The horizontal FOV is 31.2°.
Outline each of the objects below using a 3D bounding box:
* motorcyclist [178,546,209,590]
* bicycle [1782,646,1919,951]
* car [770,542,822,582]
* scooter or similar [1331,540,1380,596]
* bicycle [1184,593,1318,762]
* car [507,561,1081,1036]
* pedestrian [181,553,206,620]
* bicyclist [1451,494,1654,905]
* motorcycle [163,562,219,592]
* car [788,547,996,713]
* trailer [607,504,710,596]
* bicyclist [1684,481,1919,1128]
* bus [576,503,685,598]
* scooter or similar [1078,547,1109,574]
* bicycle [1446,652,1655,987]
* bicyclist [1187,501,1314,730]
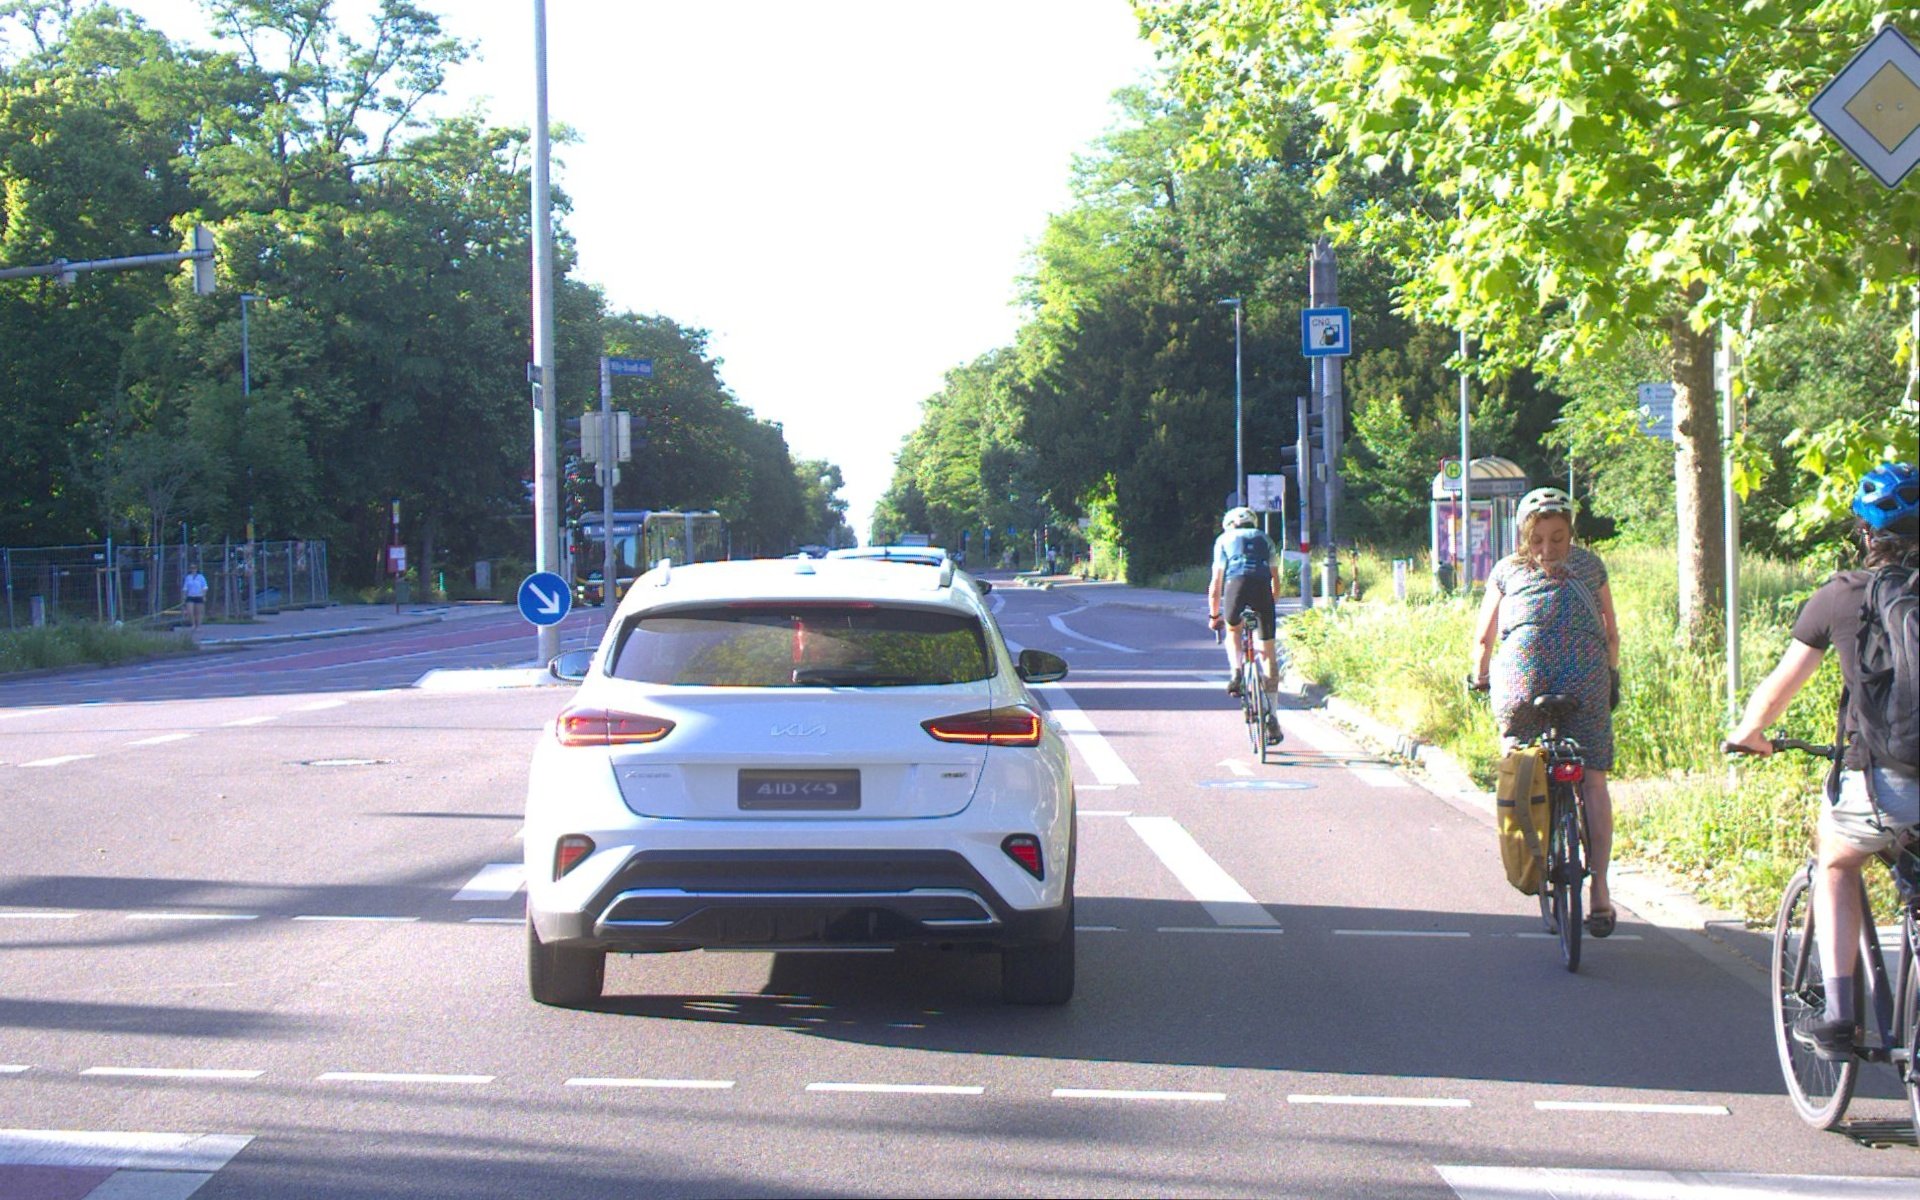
[{"bbox_3d":[-38.403,-1.587,172.158,1.123,2.174,1.014,-1,1,44],"label":"motorcyclist"},{"bbox_3d":[4.147,0.718,12.878,1.985,1.092,0.695,-1,1,6],"label":"bicycle"},{"bbox_3d":[-6.332,-1.489,133.108,1.710,1.416,4.555,-1,2,1],"label":"car"},{"bbox_3d":[9.142,-0.731,79.476,0.722,1.243,1.326,-3,-1,23],"label":"scooter or similar"},{"bbox_3d":[2.036,0.519,24.132,0.891,1.092,2.136,0,1,4],"label":"bicycle"},{"bbox_3d":[-0.664,0.599,12.554,1.761,1.454,3.818,1,1,-5],"label":"car"},{"bbox_3d":[-17.795,-0.317,79.773,0.451,1.528,0.571,-1,1,-4],"label":"pedestrian"},{"bbox_3d":[2.224,0.359,12.901,0.693,1.485,0.800,-1,1,10],"label":"bicyclist"},{"bbox_3d":[-38.472,-1.142,172.072,1.133,1.446,2.500,-1,1,43],"label":"motorcycle"},{"bbox_3d":[-0.582,0.236,32.046,1.676,1.413,3.573,-1,1,3],"label":"car"},{"bbox_3d":[-11.445,-1.876,131.277,2.855,3.344,9.362,1,1,1],"label":"trailer"},{"bbox_3d":[2.258,0.464,8.442,0.693,1.496,0.893,-2,1,-4],"label":"bicyclist"},{"bbox_3d":[-11.636,-1.752,122.237,2.840,3.186,8.599,-1,1,1],"label":"bus"},{"bbox_3d":[6.321,-1.866,163.341,1.537,1.245,0.534,-2,1,-44],"label":"scooter or similar"},{"bbox_3d":[2.251,0.786,13.051,0.693,1.092,2.135,-1,1,10],"label":"bicycle"},{"bbox_3d":[2.024,0.100,23.985,0.860,1.562,0.881,0,1,5],"label":"bicyclist"}]
